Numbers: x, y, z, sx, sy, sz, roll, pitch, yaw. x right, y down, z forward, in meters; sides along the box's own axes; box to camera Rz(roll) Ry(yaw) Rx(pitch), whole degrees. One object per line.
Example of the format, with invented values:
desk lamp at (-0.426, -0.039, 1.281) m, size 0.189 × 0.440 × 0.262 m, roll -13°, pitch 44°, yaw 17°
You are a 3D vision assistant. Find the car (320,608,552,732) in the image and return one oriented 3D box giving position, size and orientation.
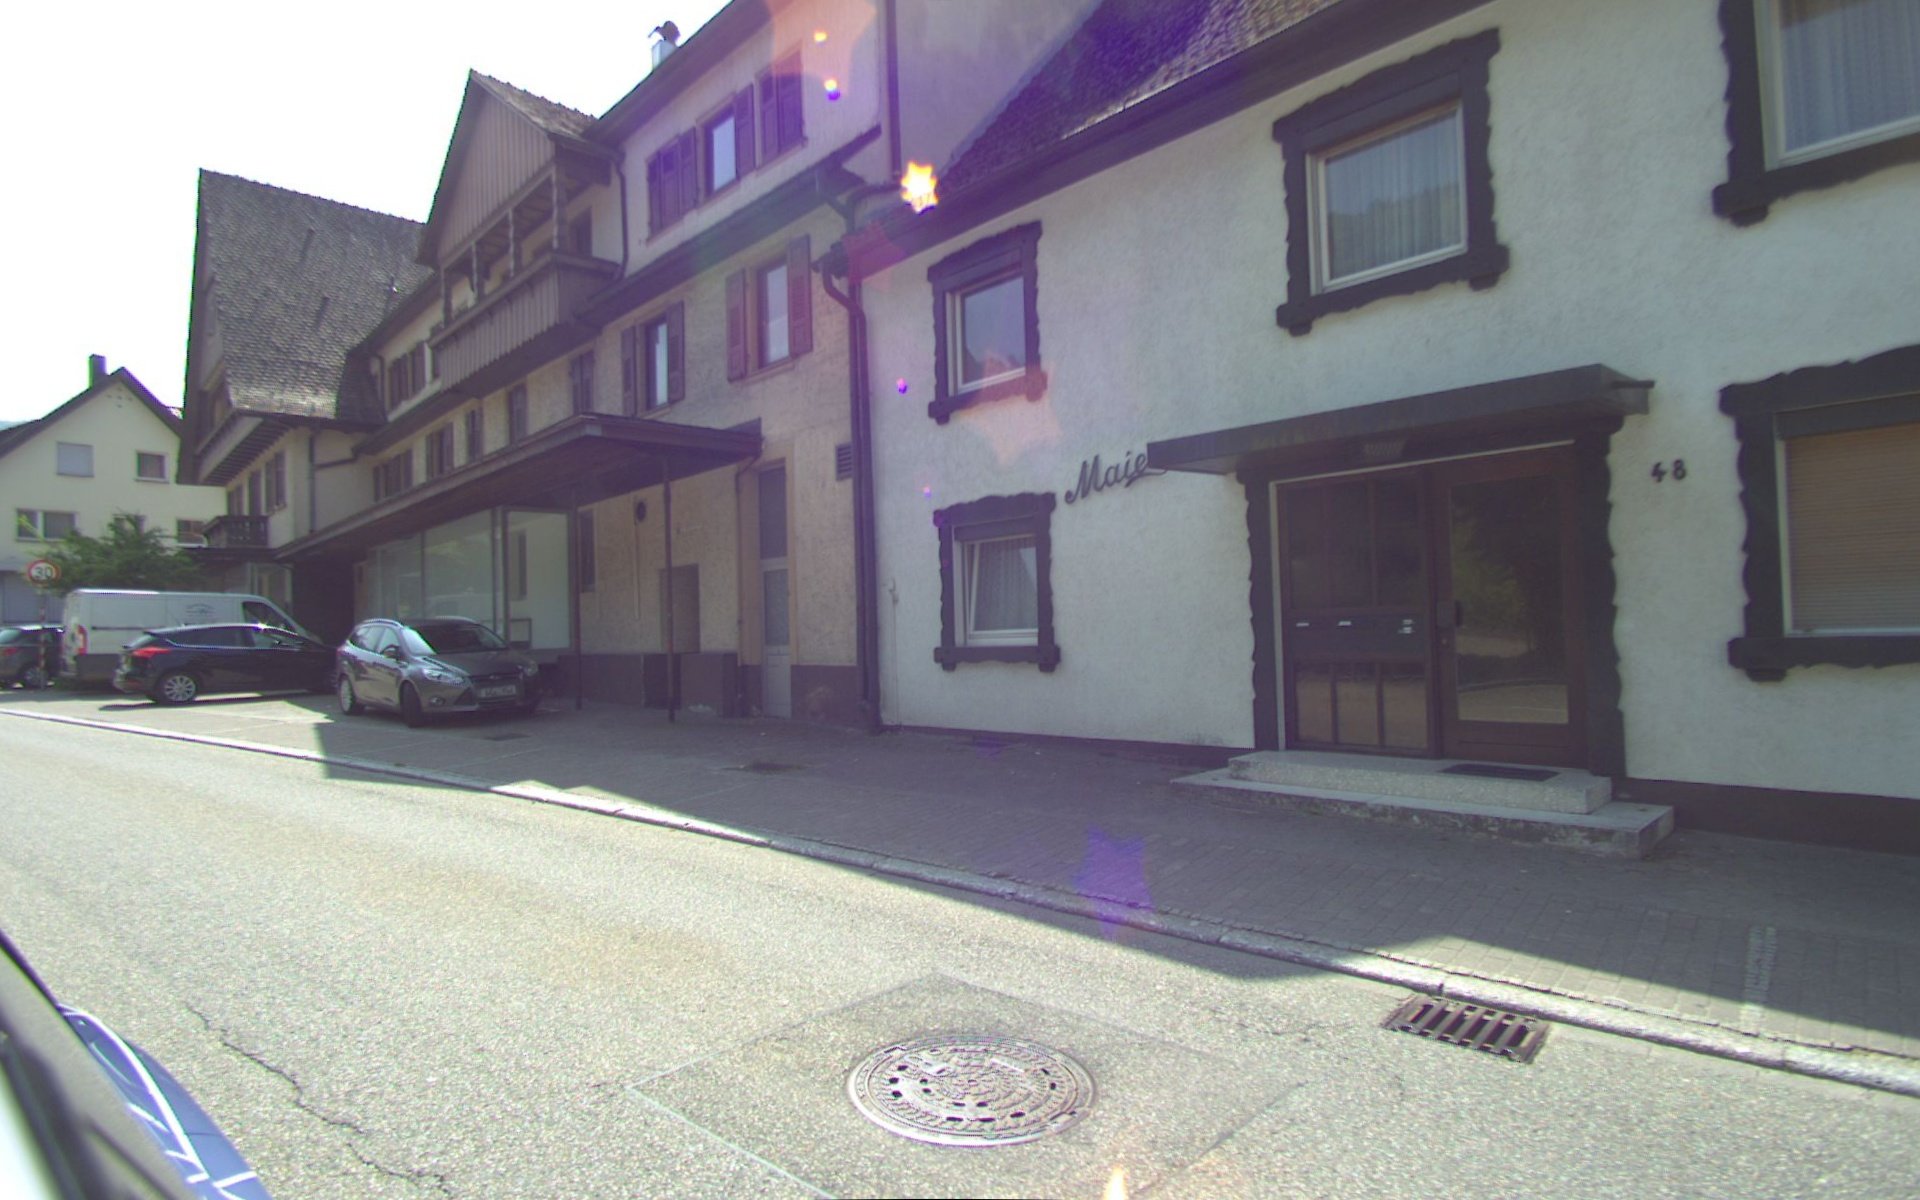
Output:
car at (-7.977, 0.961, 15.220) m, size 4.285 × 1.565 × 1.750 m, roll -2°, pitch -1°, yaw 43°

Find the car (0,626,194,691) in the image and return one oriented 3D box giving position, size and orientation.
car at (-21.342, 1.403, 24.711) m, size 1.627 × 1.464 × 3.945 m, roll -2°, pitch -3°, yaw 41°

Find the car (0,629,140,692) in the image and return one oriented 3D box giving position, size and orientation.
car at (-24.051, 1.561, 26.451) m, size 3.939 × 1.584 × 1.578 m, roll 3°, pitch -4°, yaw -43°

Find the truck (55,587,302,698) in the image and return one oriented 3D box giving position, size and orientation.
truck at (-17.652, 0.875, 22.997) m, size 1.998 × 2.283 × 4.124 m, roll -2°, pitch -1°, yaw 40°

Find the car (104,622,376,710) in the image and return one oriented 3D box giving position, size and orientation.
car at (-13.880, 1.202, 19.679) m, size 1.754 × 1.514 × 4.049 m, roll -2°, pitch -2°, yaw 43°
